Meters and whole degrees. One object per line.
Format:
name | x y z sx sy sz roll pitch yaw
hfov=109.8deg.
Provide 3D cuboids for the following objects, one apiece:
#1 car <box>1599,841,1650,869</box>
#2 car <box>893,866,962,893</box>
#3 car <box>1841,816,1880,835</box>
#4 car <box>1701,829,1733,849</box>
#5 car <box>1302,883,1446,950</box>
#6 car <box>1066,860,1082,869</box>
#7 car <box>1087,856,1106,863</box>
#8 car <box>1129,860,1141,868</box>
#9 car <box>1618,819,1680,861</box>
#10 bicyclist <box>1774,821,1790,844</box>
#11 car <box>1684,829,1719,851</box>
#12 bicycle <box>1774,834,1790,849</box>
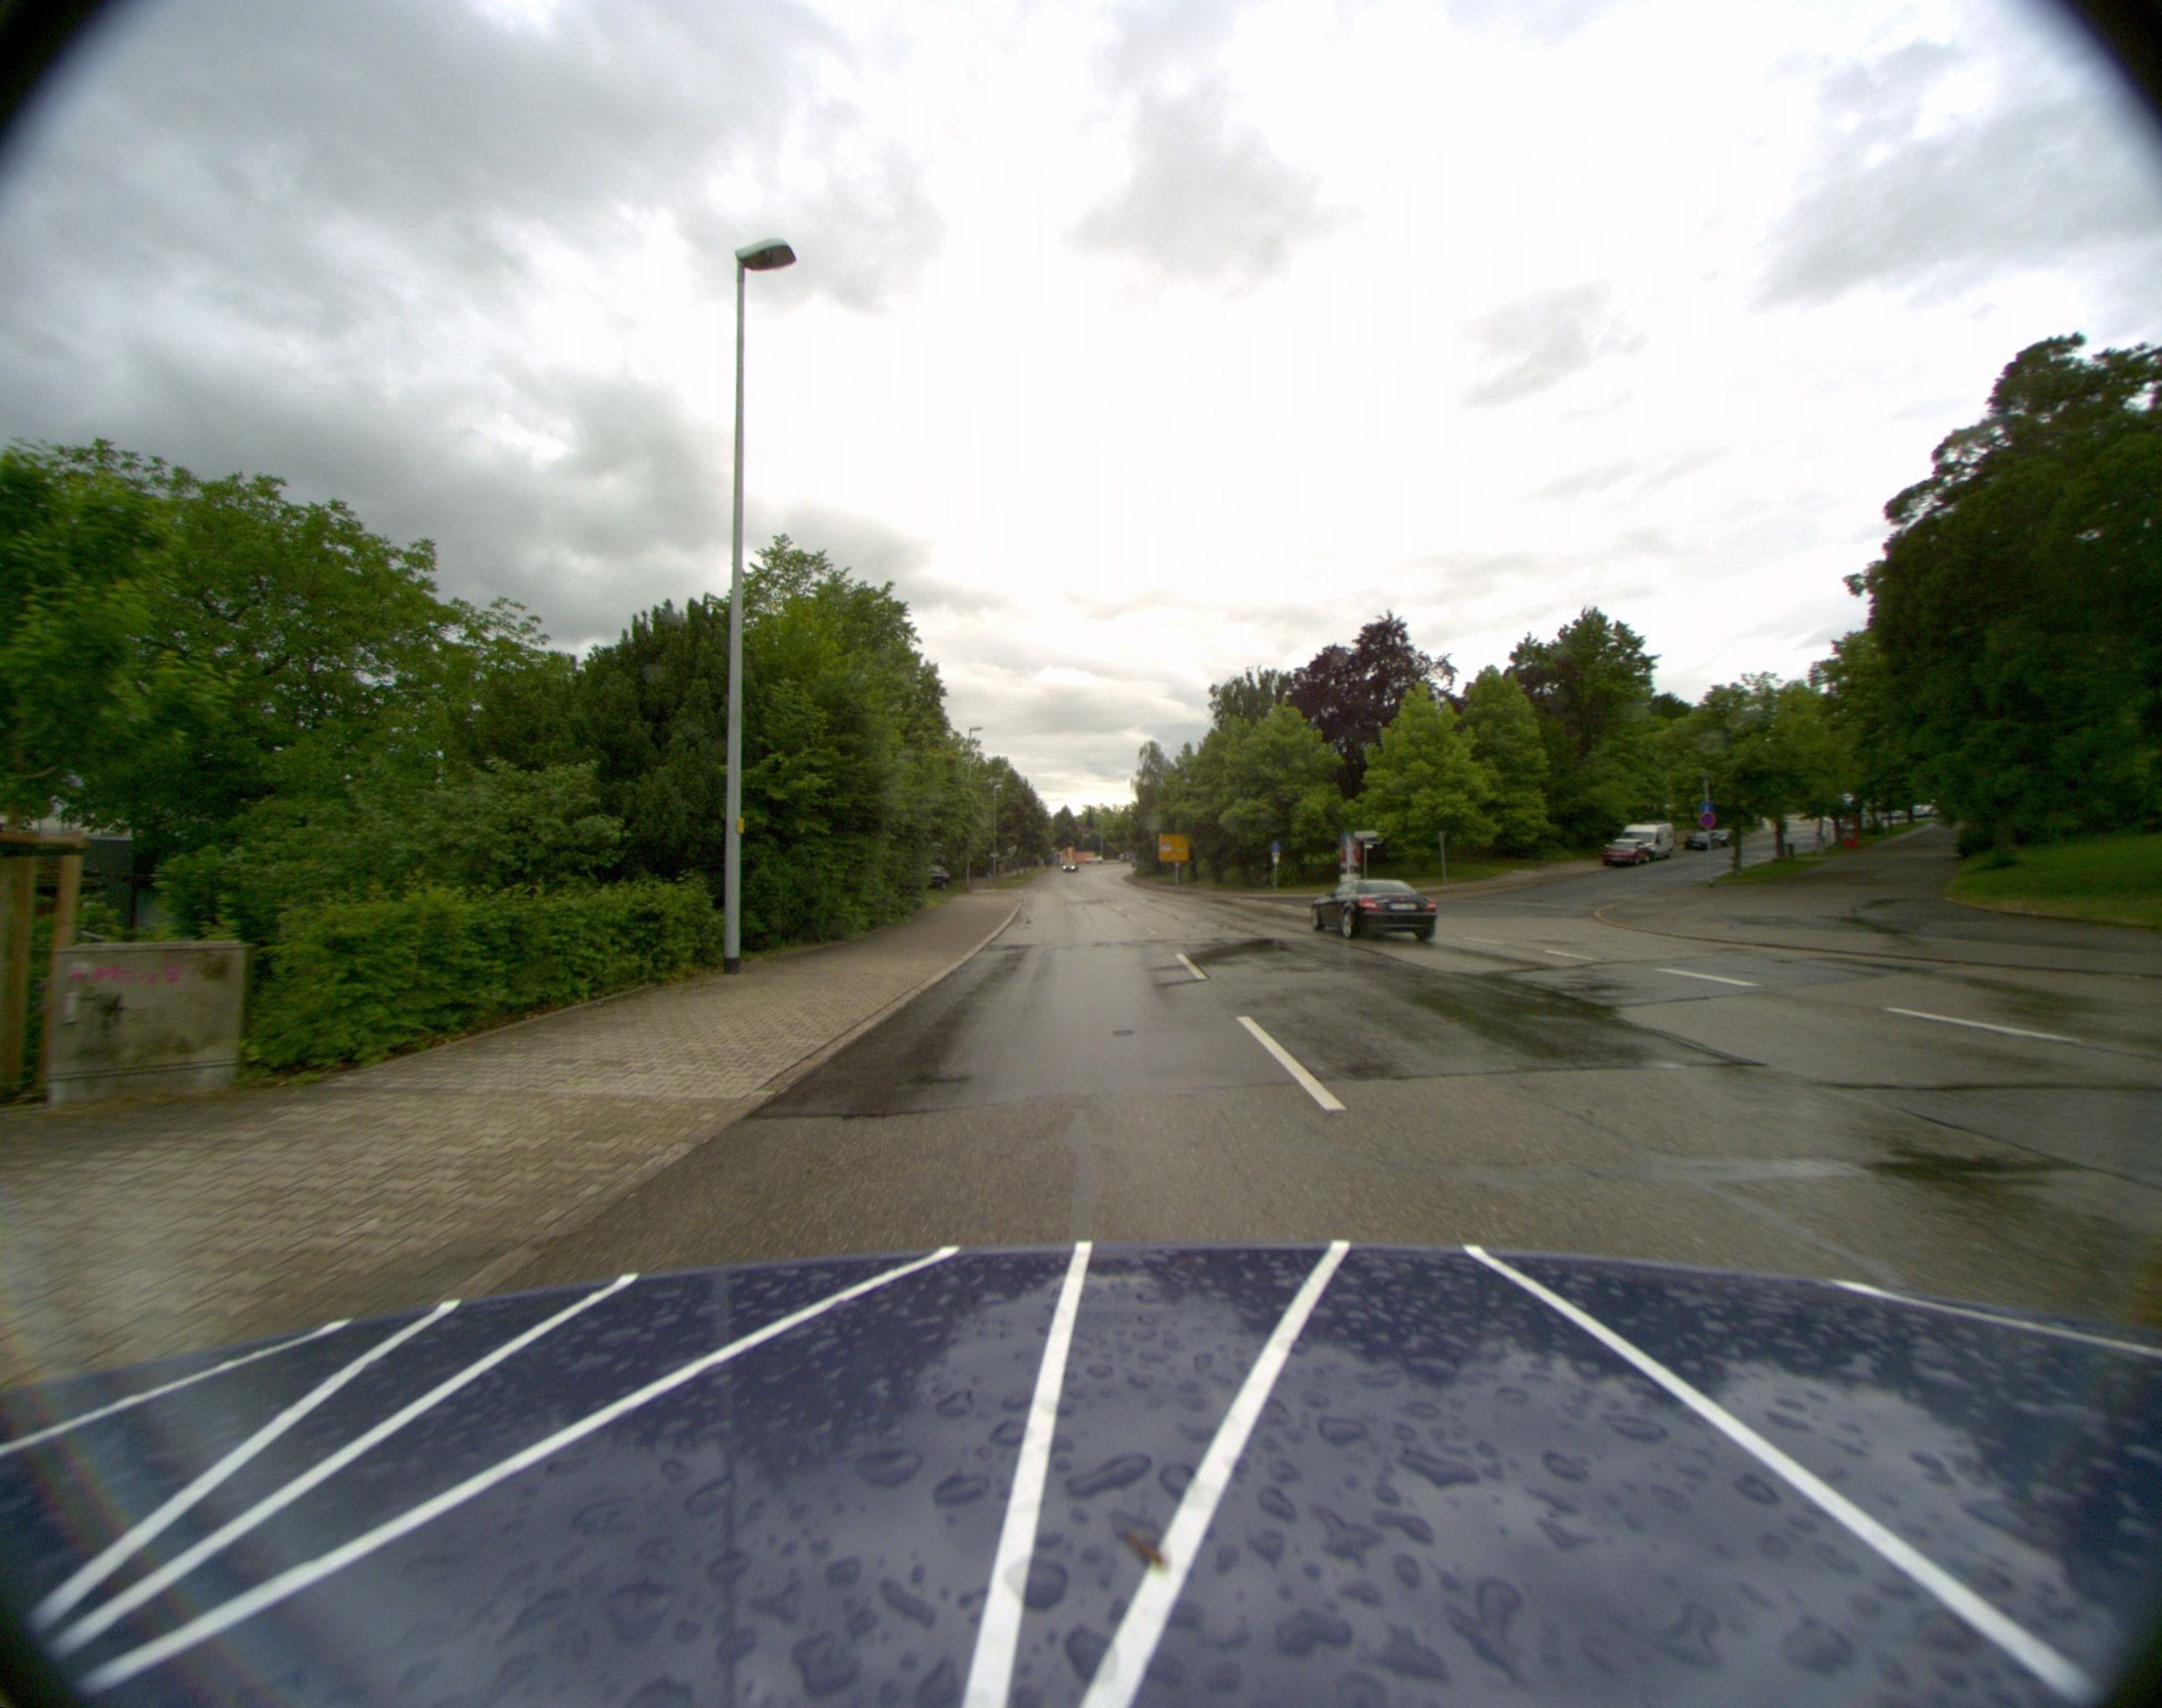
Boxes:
car | 34.816 0.067 48.642 1.972 1.658 4.008 -2 -1 45
car | -10.082 1.748 50.302 1.949 1.678 4.914 -2 -4 26
car | 75.992 -2.791 74.071 4.211 1.659 1.871 -3 0 -34
car | 54.446 -1.280 65.047 1.822 1.658 4.008 -2 -1 44
car | 6.495 1.338 17.358 1.665 1.298 4.084 1 -2 -1
car | -1.125 1.630 121.459 1.860 1.406 4.390 0 -1 9
car | 3.407 1.208 165.336 3.864 1.557 1.728 2 0 9
car | 10.287 1.872 144.902 1.724 1.375 4.143 1 -1 10
car | 39.044 -0.962 52.175 5.681 2.683 2.152 -1 -1 -41
bicyclist | 54.148 -1.619 58.684 0.852 1.745 1.288 1 1 42
car | 50.178 -1.107 61.406 1.822 1.658 4.008 -2 -1 44
bicycle | 54.137 -0.969 58.684 0.852 1.149 2.042 1 1 42
